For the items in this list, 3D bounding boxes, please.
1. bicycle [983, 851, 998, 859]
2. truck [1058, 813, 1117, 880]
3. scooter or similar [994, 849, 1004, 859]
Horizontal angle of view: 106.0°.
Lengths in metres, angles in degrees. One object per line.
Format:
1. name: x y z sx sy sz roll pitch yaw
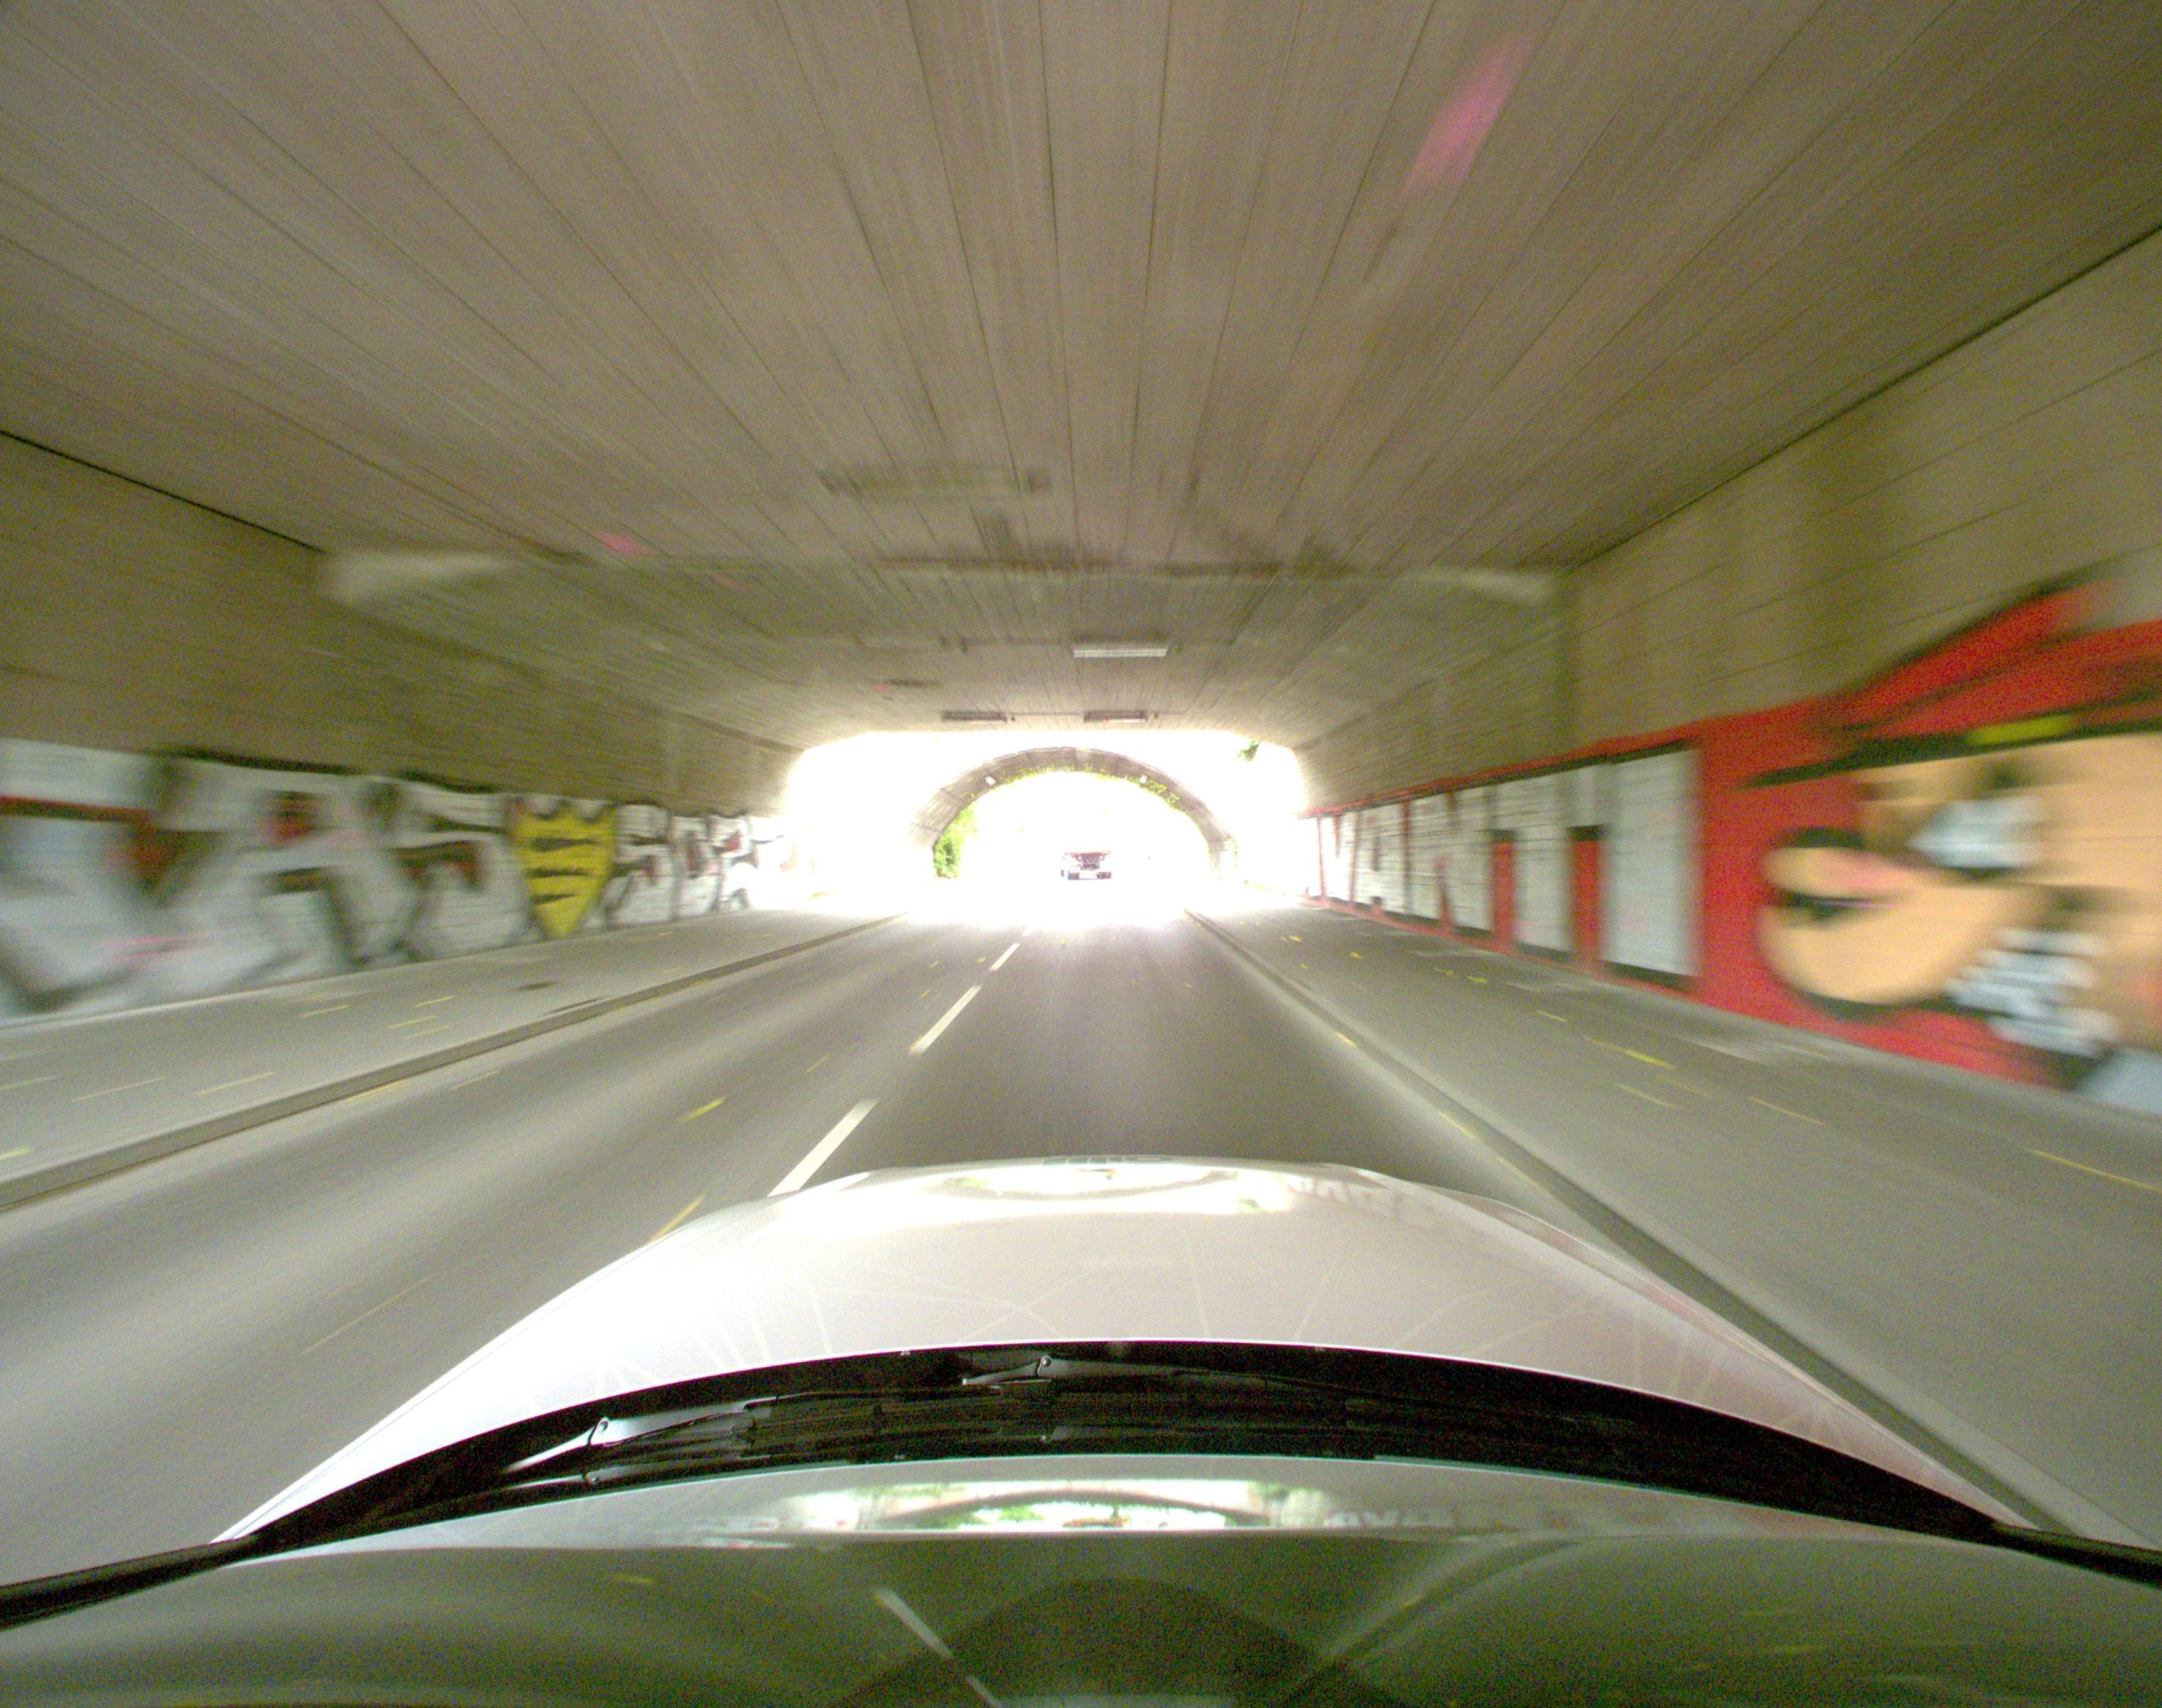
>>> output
1. bicycle: -12.070 0.088 108.260 1.981 0.865 0.505 6 -3 -38
2. truck: 0.226 -0.493 46.681 2.759 3.483 8.118 -1 1 -4
3. scooter or similar: -10.861 0.012 107.350 1.196 1.206 0.463 4 -2 -35
